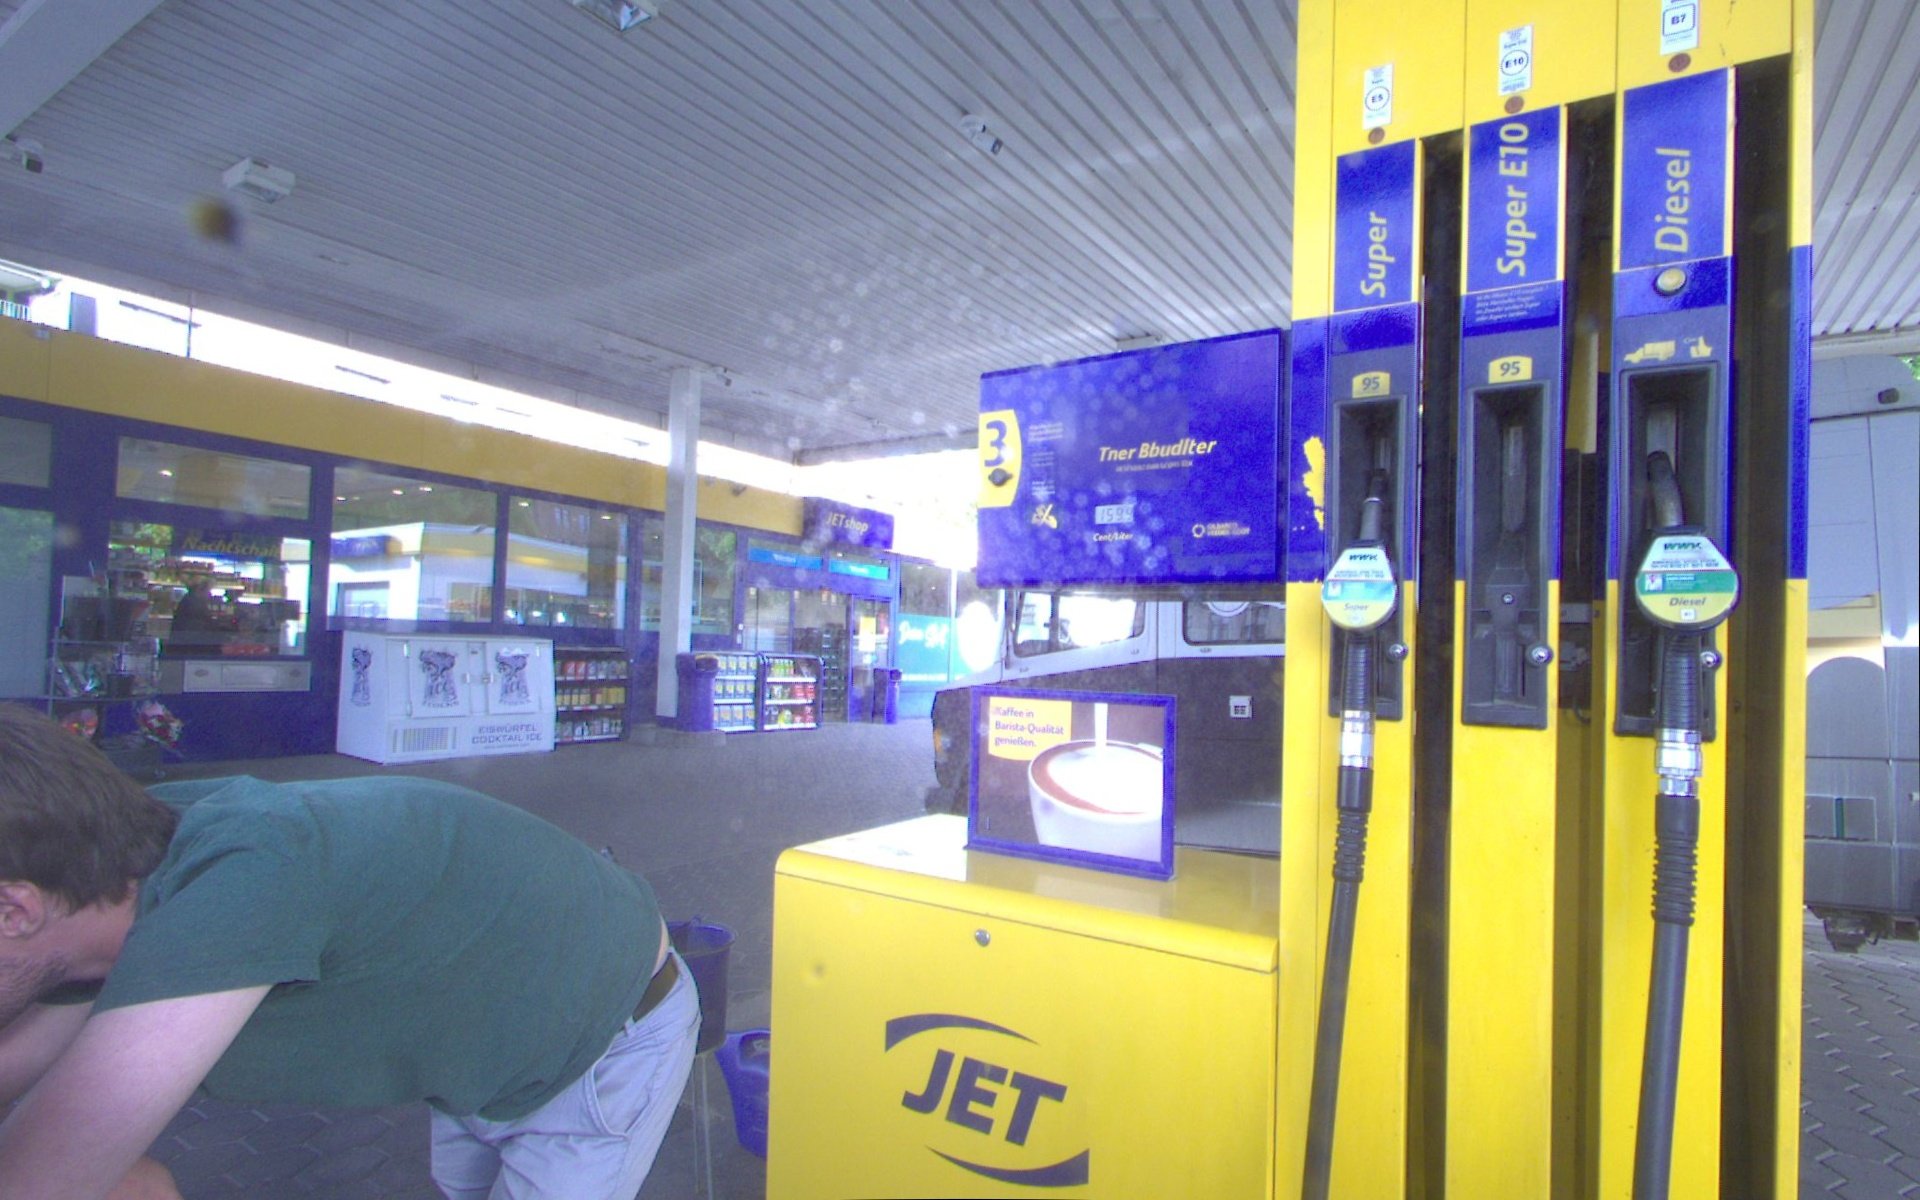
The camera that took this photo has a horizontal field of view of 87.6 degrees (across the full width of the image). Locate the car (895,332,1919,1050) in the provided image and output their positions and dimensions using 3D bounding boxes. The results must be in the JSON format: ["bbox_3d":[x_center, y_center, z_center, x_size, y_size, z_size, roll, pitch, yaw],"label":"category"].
[{"bbox_3d":[2.386,0.403,6.023,5.219,2.724,2.250,0,-3,34],"label":"car"}]

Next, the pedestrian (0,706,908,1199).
[{"bbox_3d":[-0.537,0.799,1.078,0.664,1.298,0.749,-1,-1,31],"label":"pedestrian"}]
